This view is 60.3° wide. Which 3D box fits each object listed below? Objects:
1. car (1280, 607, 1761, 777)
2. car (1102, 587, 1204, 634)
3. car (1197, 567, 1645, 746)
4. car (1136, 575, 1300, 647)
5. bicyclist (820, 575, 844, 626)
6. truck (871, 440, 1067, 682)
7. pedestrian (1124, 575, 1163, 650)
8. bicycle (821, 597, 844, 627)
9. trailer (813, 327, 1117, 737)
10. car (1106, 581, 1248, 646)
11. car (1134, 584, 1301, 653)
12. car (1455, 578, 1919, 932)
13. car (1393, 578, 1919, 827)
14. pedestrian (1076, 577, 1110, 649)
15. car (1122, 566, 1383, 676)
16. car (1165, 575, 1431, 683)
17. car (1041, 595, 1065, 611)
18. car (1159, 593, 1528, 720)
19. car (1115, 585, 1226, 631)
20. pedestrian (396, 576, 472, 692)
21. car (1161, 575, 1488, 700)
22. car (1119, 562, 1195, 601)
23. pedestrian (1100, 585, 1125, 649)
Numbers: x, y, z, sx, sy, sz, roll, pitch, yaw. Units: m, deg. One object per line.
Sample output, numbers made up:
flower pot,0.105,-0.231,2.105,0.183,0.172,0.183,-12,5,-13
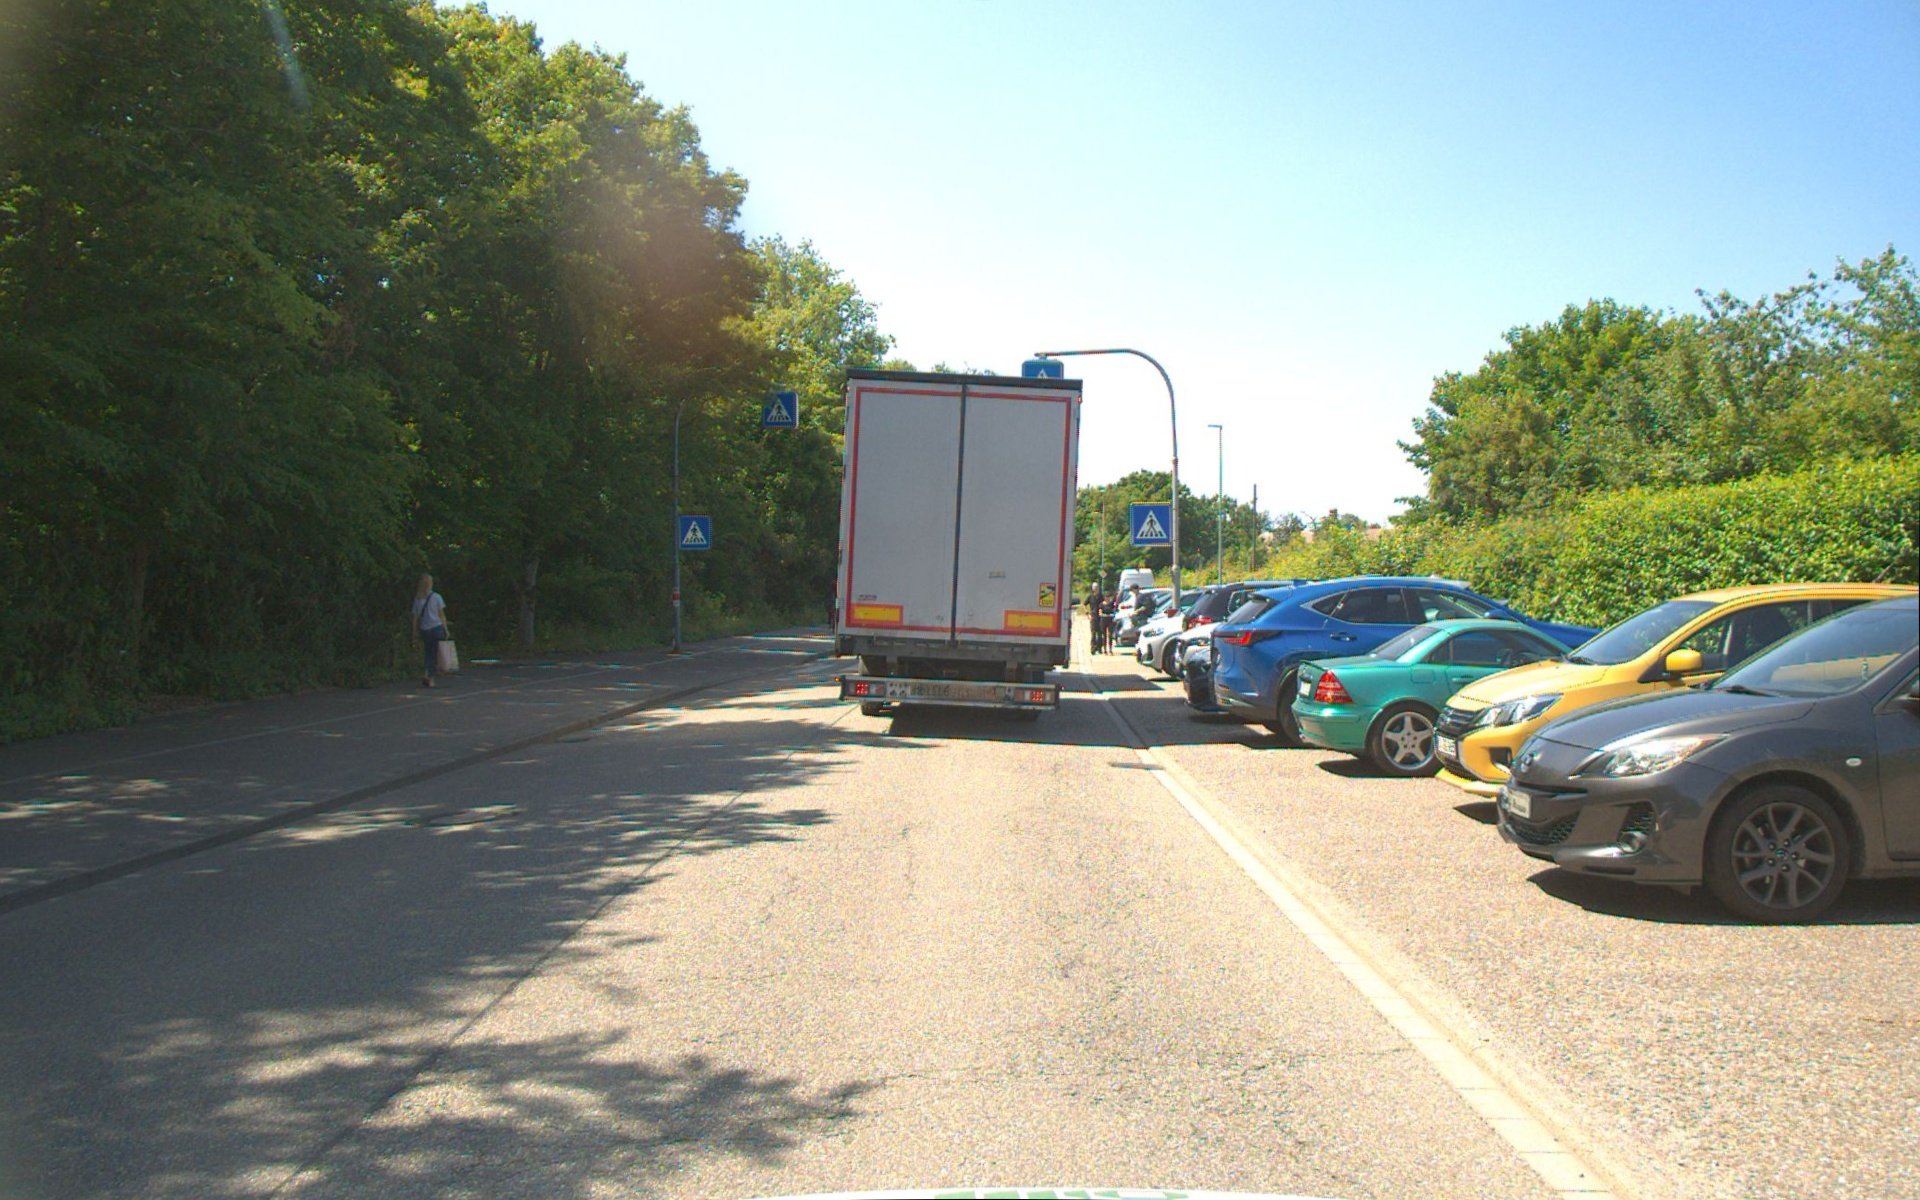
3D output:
car,4.796,0.773,14.535,3.657,1.290,1.628,-2,-1,2
car,7.836,0.431,67.430,3.876,1.796,1.813,-1,0,-2
car,4.696,0.559,17.299,4.151,1.662,1.823,-2,0,0
car,6.703,0.280,43.219,3.878,1.697,1.812,-2,-1,-4
bicyclist,-4.554,0.004,59.000,0.701,1.789,0.796,1,0,5
truck,0.204,-0.661,29.620,3.049,3.790,6.414,1,1,1
pedestrian,4.632,0.307,41.710,0.888,1.830,0.936,-2,-1,7
bicycle,-4.557,0.427,59.204,0.444,1.065,2.205,1,0,5
trailer,0.106,-0.777,23.009,3.049,4.174,11.538,2,1,1
car,6.418,0.378,49.136,3.878,1.697,1.812,-2,2,-4
car,6.193,0.443,40.111,3.872,1.506,1.815,-2,-1,6
car,4.825,0.650,8.300,4.078,1.521,1.882,-2,-1,0
car,5.099,0.643,11.397,3.723,1.480,1.774,-2,-1,0
pedestrian,3.537,0.335,43.936,0.804,1.866,0.793,-2,-1,7
car,5.233,0.372,29.961,4.315,1.728,1.876,-3,-1,-1
car,5.508,0.467,27.350,4.039,1.686,1.887,-1,0,2
car,8.777,0.280,155.832,1.743,1.512,4.003,1,0,10
car,4.651,0.671,20.353,4.052,1.464,1.812,1,0,-7
car,7.798,0.286,61.500,3.876,1.647,1.813,-1,0,-2
pedestrian,-7.721,0.490,24.286,0.811,1.651,0.783,2,0,-1
car,5.010,0.524,23.129,4.149,1.683,1.899,0,-2,-1
car,10.480,-0.967,88.145,3.873,1.830,1.814,-2,-2,4
pedestrian,3.962,0.436,42.948,0.577,1.643,0.745,-2,-1,7
